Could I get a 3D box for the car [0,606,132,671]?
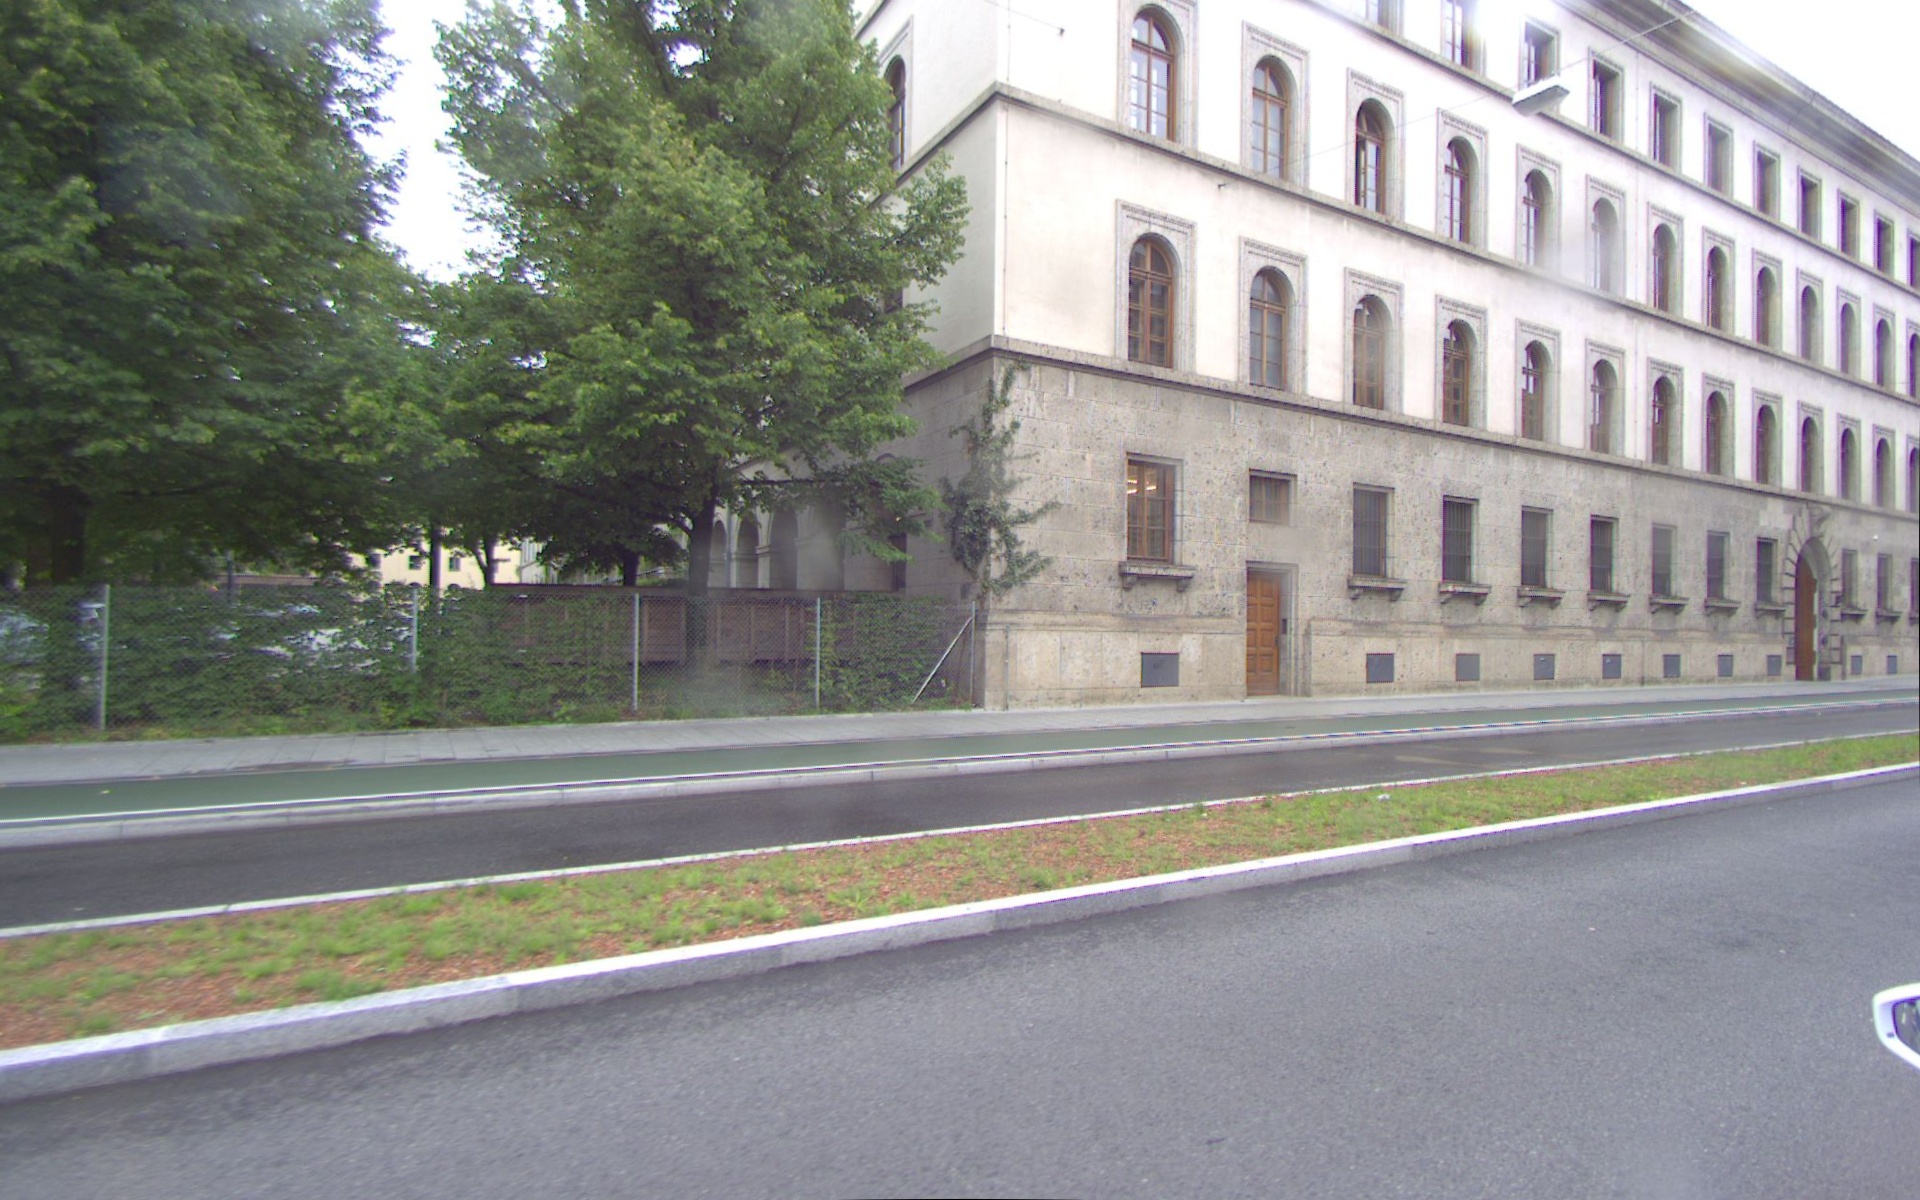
[{"bbox_3d":[-22.488,0.892,23.768,4.215,1.467,1.982,2,0,-32],"label":"car"}]
